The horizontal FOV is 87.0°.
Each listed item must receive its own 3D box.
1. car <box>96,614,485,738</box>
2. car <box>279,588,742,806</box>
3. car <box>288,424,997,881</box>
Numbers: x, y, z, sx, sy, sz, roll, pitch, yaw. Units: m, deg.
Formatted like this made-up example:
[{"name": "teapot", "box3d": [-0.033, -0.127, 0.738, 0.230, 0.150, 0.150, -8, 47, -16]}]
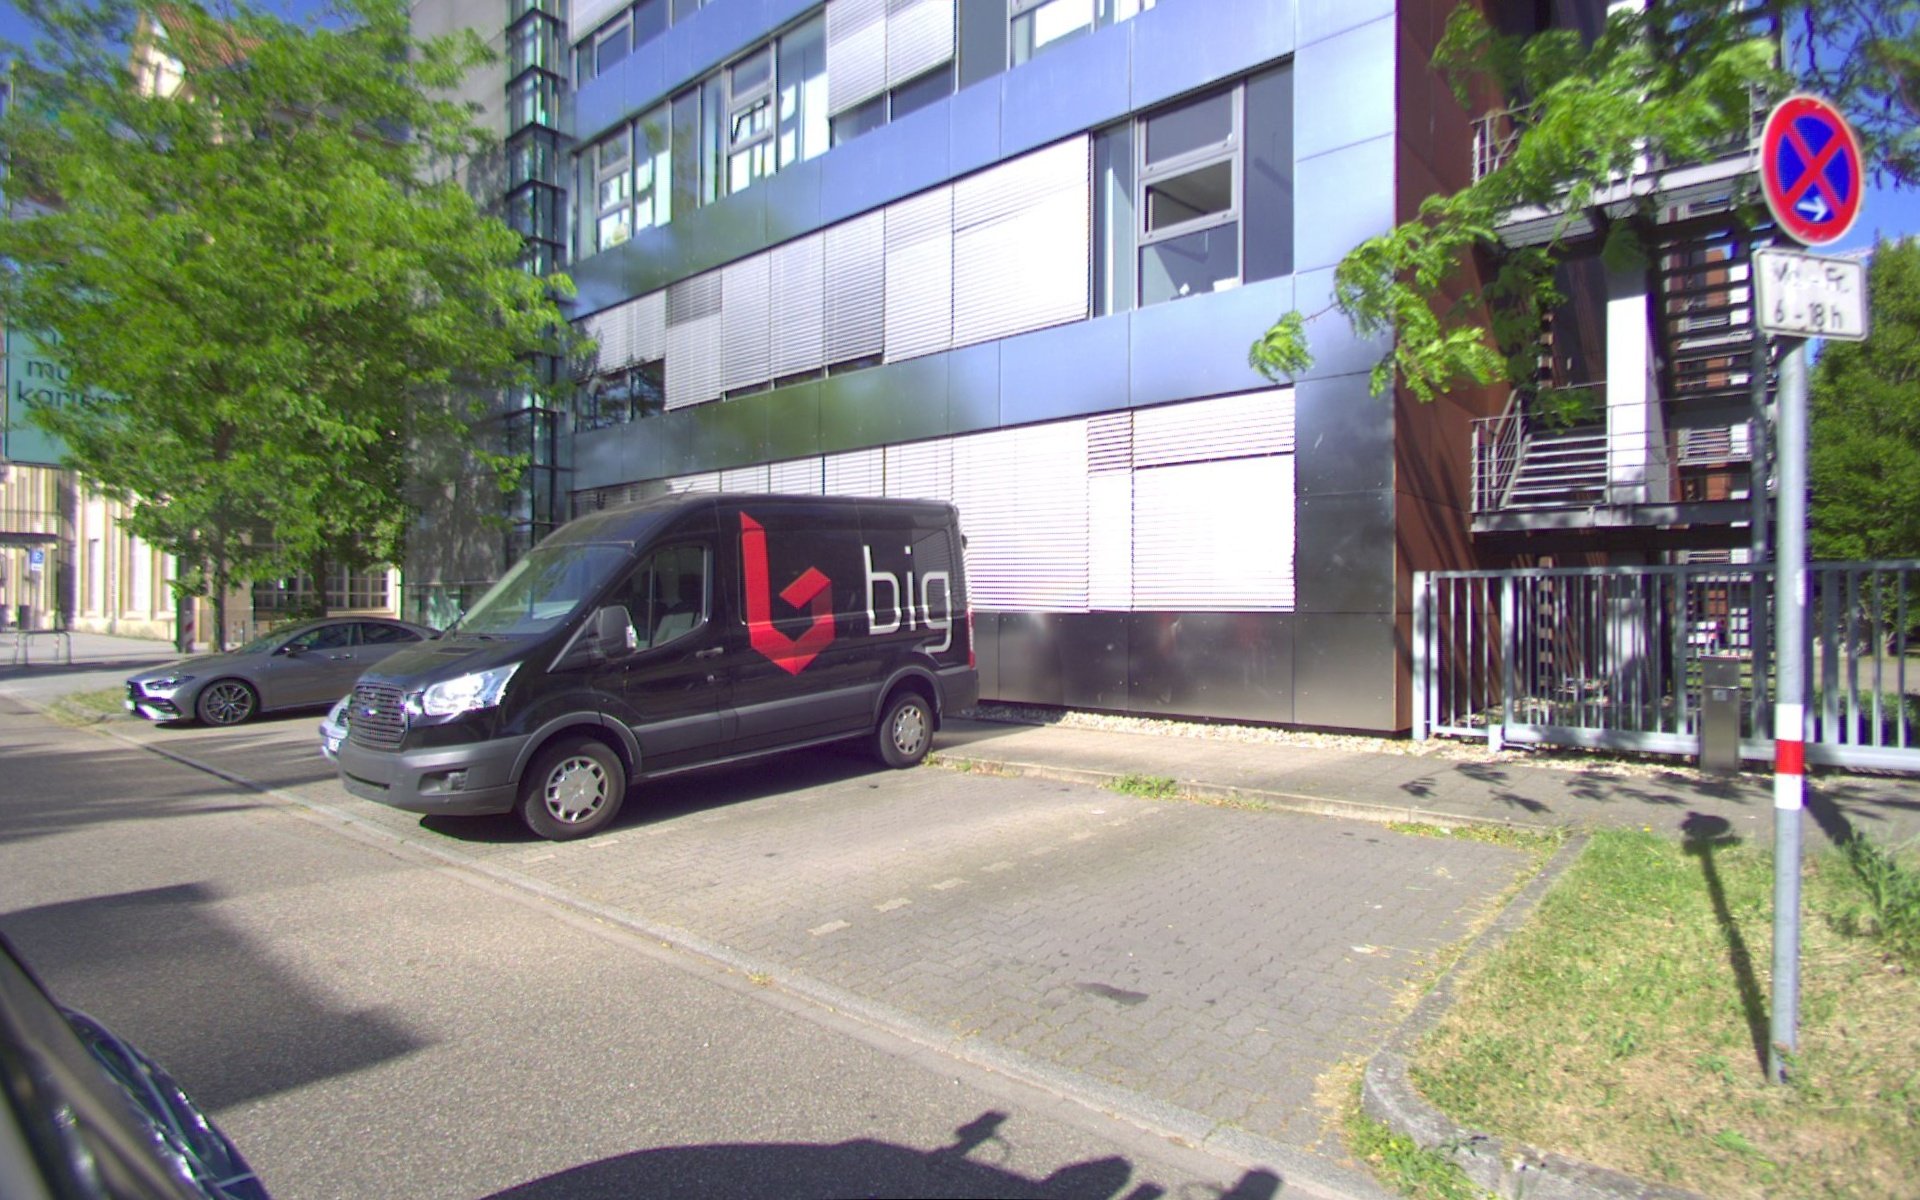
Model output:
[{"name": "car", "box3d": [-9.769, 0.992, 15.091, 1.891, 1.360, 4.489, 0, 2, 40]}, {"name": "car", "box3d": [-4.320, 0.769, 10.177, 1.890, 1.657, 3.794, -1, 1, 39]}, {"name": "car", "box3d": [-2.240, 0.253, 8.644, 2.230, 2.642, 5.399, -1, 1, 40]}]
